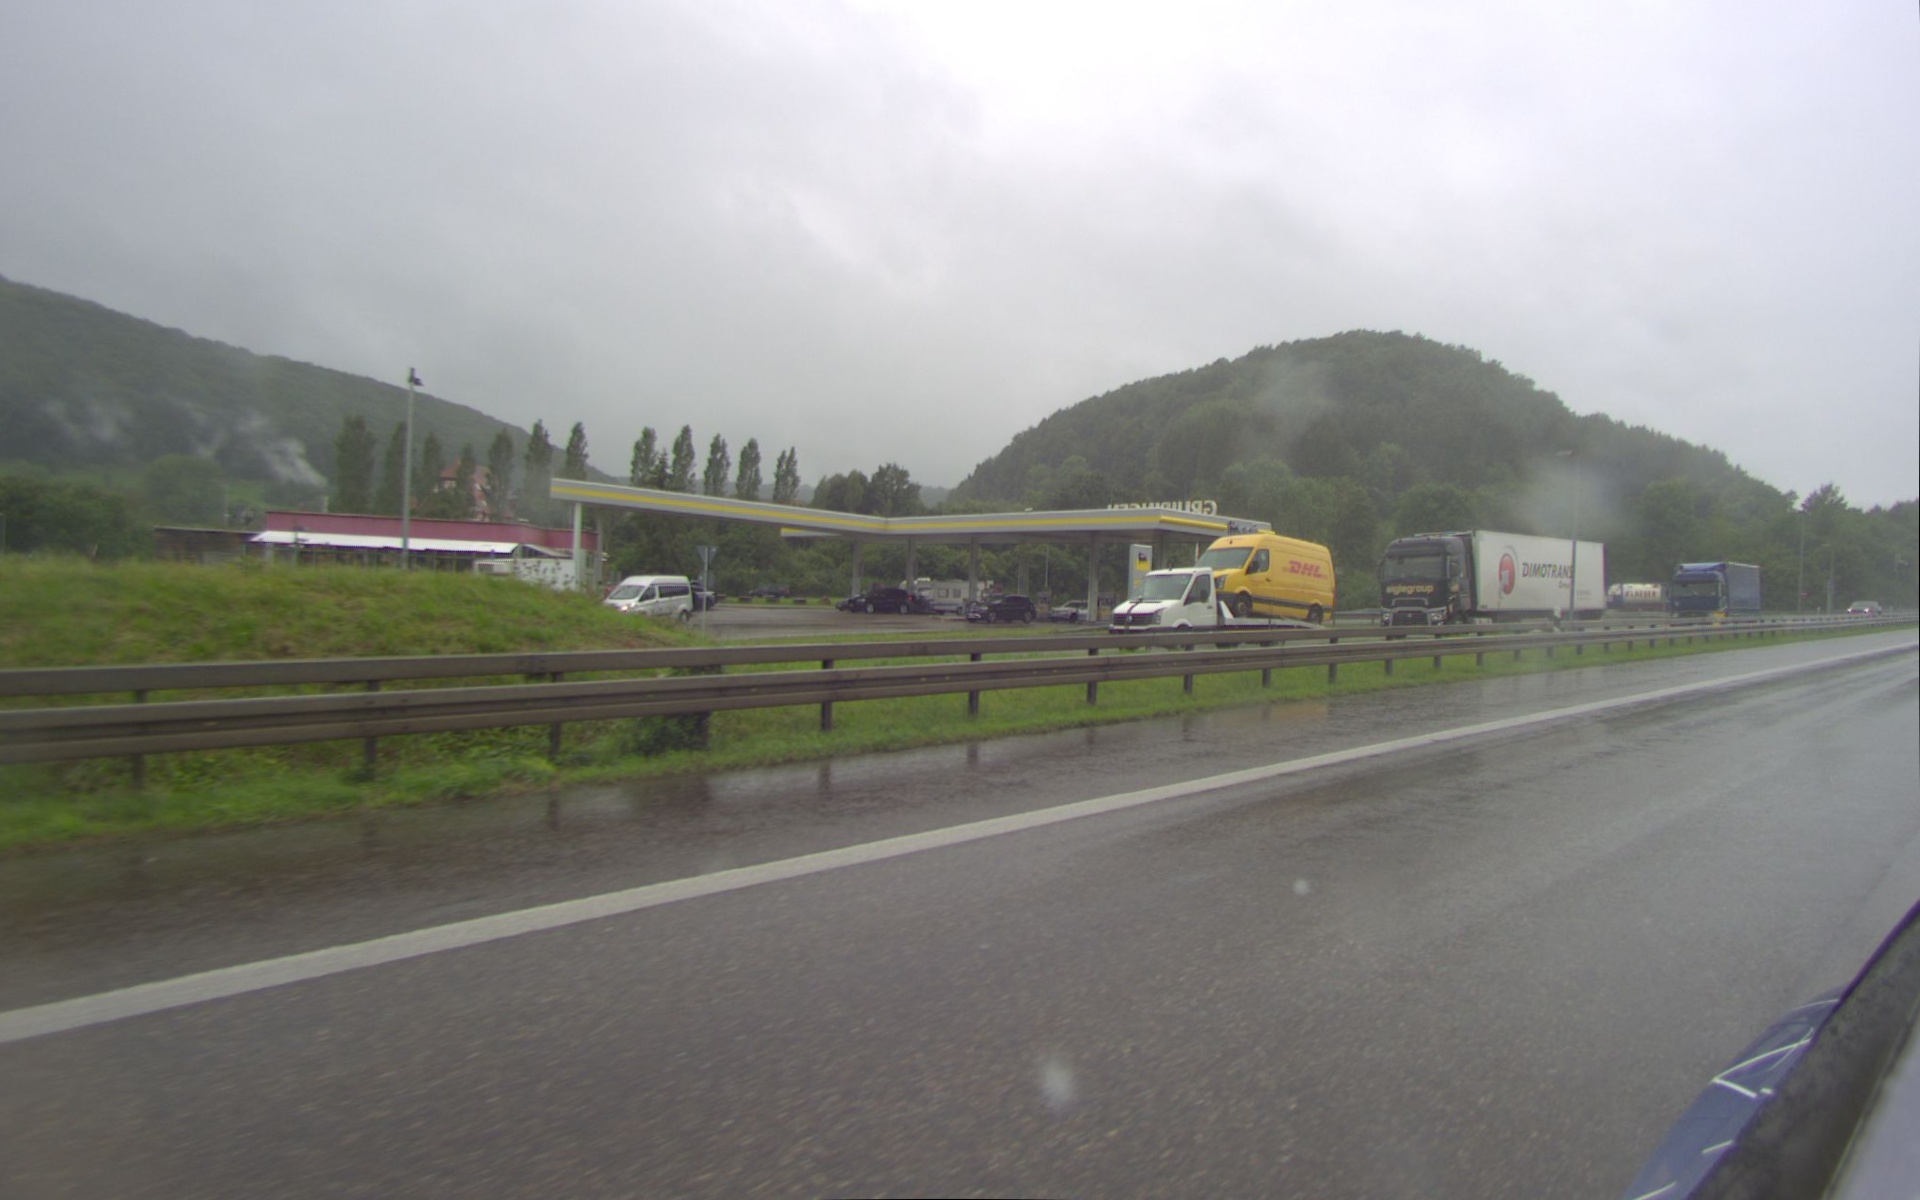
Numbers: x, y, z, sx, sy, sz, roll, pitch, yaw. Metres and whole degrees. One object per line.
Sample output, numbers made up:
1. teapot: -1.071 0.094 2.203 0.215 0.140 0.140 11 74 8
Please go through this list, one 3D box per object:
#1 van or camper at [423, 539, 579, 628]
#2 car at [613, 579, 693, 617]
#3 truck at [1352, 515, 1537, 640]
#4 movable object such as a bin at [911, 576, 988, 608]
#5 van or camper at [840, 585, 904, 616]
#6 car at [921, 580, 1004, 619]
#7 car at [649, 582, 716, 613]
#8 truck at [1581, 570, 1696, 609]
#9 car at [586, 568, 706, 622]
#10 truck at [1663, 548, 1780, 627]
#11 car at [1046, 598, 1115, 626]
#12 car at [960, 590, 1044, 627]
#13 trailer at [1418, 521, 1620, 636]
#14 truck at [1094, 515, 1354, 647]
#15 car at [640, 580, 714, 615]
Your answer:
1. van or camper: -17.227 -0.593 38.424 1.971 3.098 6.144 0 0 15
2. car: -17.039 -0.121 56.205 3.923 2.039 1.795 0 -1 -34
3. truck: 18.532 -0.798 38.468 7.678 4.273 3.534 0 0 -40
4. movable object such as a bin: -0.727 -0.553 73.261 5.625 2.217 1.996 0 0 -42
5. van or camper: -5.952 0.010 68.844 3.930 2.039 1.997 0 0 -41
6. car: 0.182 -0.050 60.329 4.807 2.210 2.084 0 0 -41
7. car: -18.662 -0.180 68.088 3.934 2.039 1.995 0 -1 -44
8. truck: 75.661 -1.188 112.890 11.629 4.310 2.884 0 0 -8
9. car: -14.222 -0.236 46.211 1.982 2.337 5.397 0 0 29
10. truck: 46.672 -0.686 61.896 10.853 4.458 3.407 0 -1 -40
11. car: 7.510 0.720 62.920 4.024 1.719 1.998 0 0 -39
12. car: 2.472 0.458 58.405 4.816 2.039 1.997 0 0 -41
13. trailer: 23.985 -0.833 42.993 11.708 4.315 3.523 0 0 -40
14. truck: 7.557 -0.489 28.066 8.703 3.187 2.296 0 0 -39
15. car: -17.025 -0.145 61.077 1.987 2.039 3.948 -1 -1 36
